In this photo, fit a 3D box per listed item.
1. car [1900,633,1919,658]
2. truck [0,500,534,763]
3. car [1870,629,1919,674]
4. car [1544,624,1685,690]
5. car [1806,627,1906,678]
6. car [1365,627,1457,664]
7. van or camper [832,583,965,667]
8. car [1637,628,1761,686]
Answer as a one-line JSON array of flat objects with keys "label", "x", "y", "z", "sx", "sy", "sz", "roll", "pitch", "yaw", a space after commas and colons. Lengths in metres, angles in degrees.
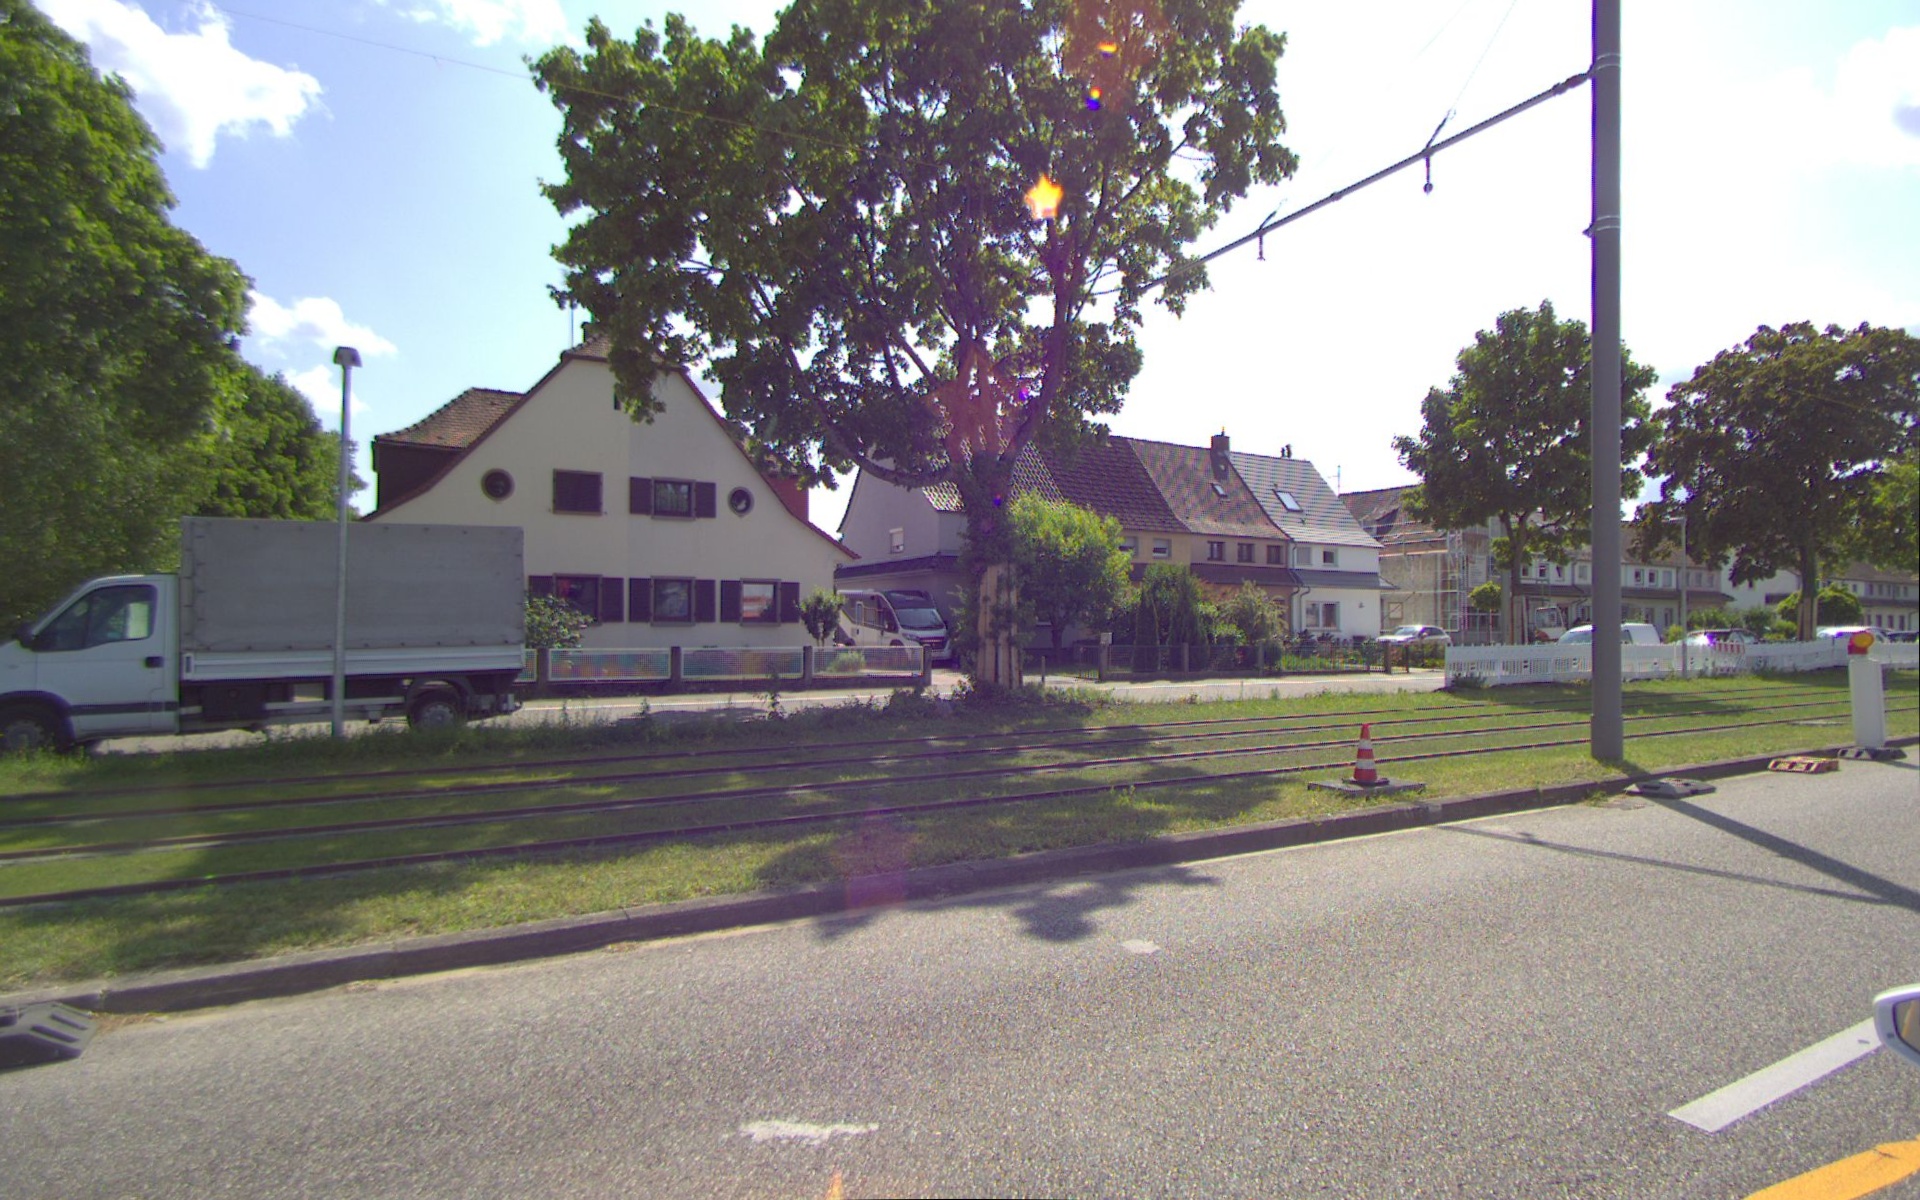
[{"label": "car", "x": 70.032, "y": 3.301, "z": 72.744, "sx": 4.079, "sy": 1.745, "sz": 1.768, "roll": 1, "pitch": -2, "yaw": -30}, {"label": "truck", "x": -8.832, "y": 0.403, "z": 12.966, "sx": 5.906, "sy": 2.817, "sz": 2.255, "roll": 1, "pitch": -2, "yaw": -31}, {"label": "car", "x": 40.648, "y": 2.163, "z": 42.693, "sx": 4.079, "sy": 1.829, "sz": 1.768, "roll": 1, "pitch": -2, "yaw": -30}, {"label": "car", "x": 19.574, "y": 1.642, "z": 30.019, "sx": 4.312, "sy": 1.845, "sz": 1.768, "roll": 1, "pitch": -2, "yaw": -30}, {"label": "car", "x": 35.364, "y": 2.029, "z": 39.637, "sx": 4.079, "sy": 1.892, "sz": 1.768, "roll": 1, "pitch": -2, "yaw": -30}, {"label": "car", "x": 19.992, "y": 1.989, "z": 44.492, "sx": 3.952, "sy": 1.539, "sz": 1.768, "roll": 1, "pitch": -2, "yaw": -30}, {"label": "van or camper", "x": -2.373, "y": 0.938, "z": 36.647, "sx": 2.269, "sy": 2.801, "sz": 6.051, "roll": 1, "pitch": -2, "yaw": -32}, {"label": "car", "x": 24.293, "y": 1.839, "z": 32.997, "sx": 4.177, "sy": 1.797, "sz": 1.768, "roll": 1, "pitch": -2, "yaw": -30}]
